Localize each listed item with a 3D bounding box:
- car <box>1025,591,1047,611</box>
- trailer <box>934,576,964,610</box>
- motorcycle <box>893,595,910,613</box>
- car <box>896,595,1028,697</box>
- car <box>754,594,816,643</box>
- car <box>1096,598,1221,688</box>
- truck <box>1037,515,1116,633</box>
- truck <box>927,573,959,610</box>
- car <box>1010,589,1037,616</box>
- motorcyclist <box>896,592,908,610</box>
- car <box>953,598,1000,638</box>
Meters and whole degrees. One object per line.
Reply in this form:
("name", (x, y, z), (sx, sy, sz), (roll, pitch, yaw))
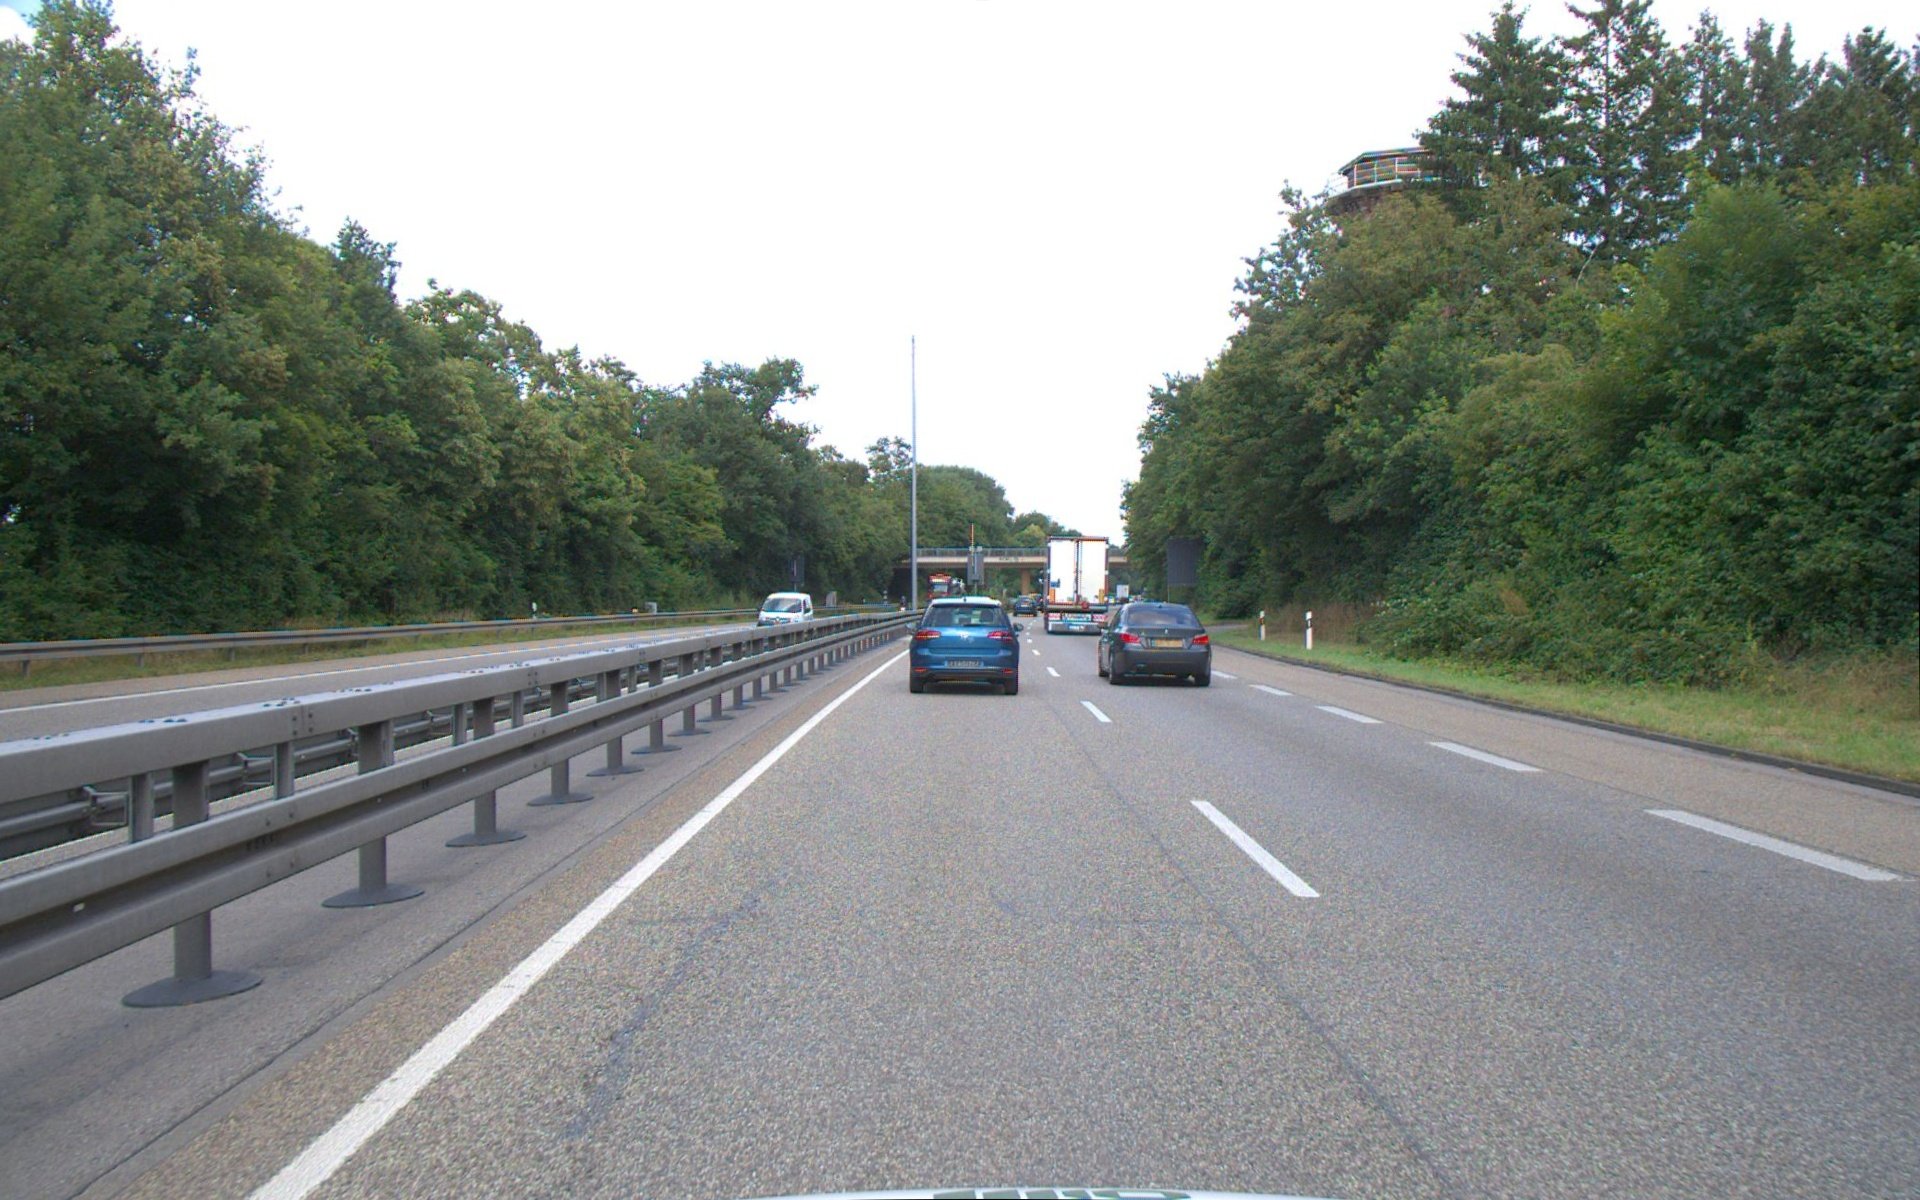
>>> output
("car", (6.918, 0.083, 150.203), (1.729, 1.803, 4.026), (0, 0, 6))
("trailer", (-1.235, -0.794, 193.695), (2.876, 3.900, 10.314), (-1, 0, 3))
("motorcycle", (-4.120, 0.263, 116.688), (0.979, 1.222, 2.998), (0, 0, 1))
("car", (0.105, 0.691, 26.928), (1.669, 1.495, 4.003), (1, 0, 7))
("car", (-6.876, 0.703, 65.518), (1.806, 1.850, 5.478), (0, 0, 0))
("car", (3.611, 0.734, 30.879), (1.738, 1.501, 4.880), (1, 0, 0))
("truck", (5.072, -1.079, 72.897), (3.174, 4.798, 11.011), (0, 0, 3))
("truck", (-1.825, -0.874, 183.358), (2.893, 3.923, 10.327), (-1, 0, 3))
("car", (4.856, 0.172, 126.200), (1.913, 2.049, 4.002), (0, 0, 5))
("motorcyclist", (-4.102, 0.083, 116.375), (0.808, 1.247, 0.720), (0, 0, 1))
("car", (0.691, 0.686, 65.437), (1.630, 1.526, 4.154), (1, 0, 3))
